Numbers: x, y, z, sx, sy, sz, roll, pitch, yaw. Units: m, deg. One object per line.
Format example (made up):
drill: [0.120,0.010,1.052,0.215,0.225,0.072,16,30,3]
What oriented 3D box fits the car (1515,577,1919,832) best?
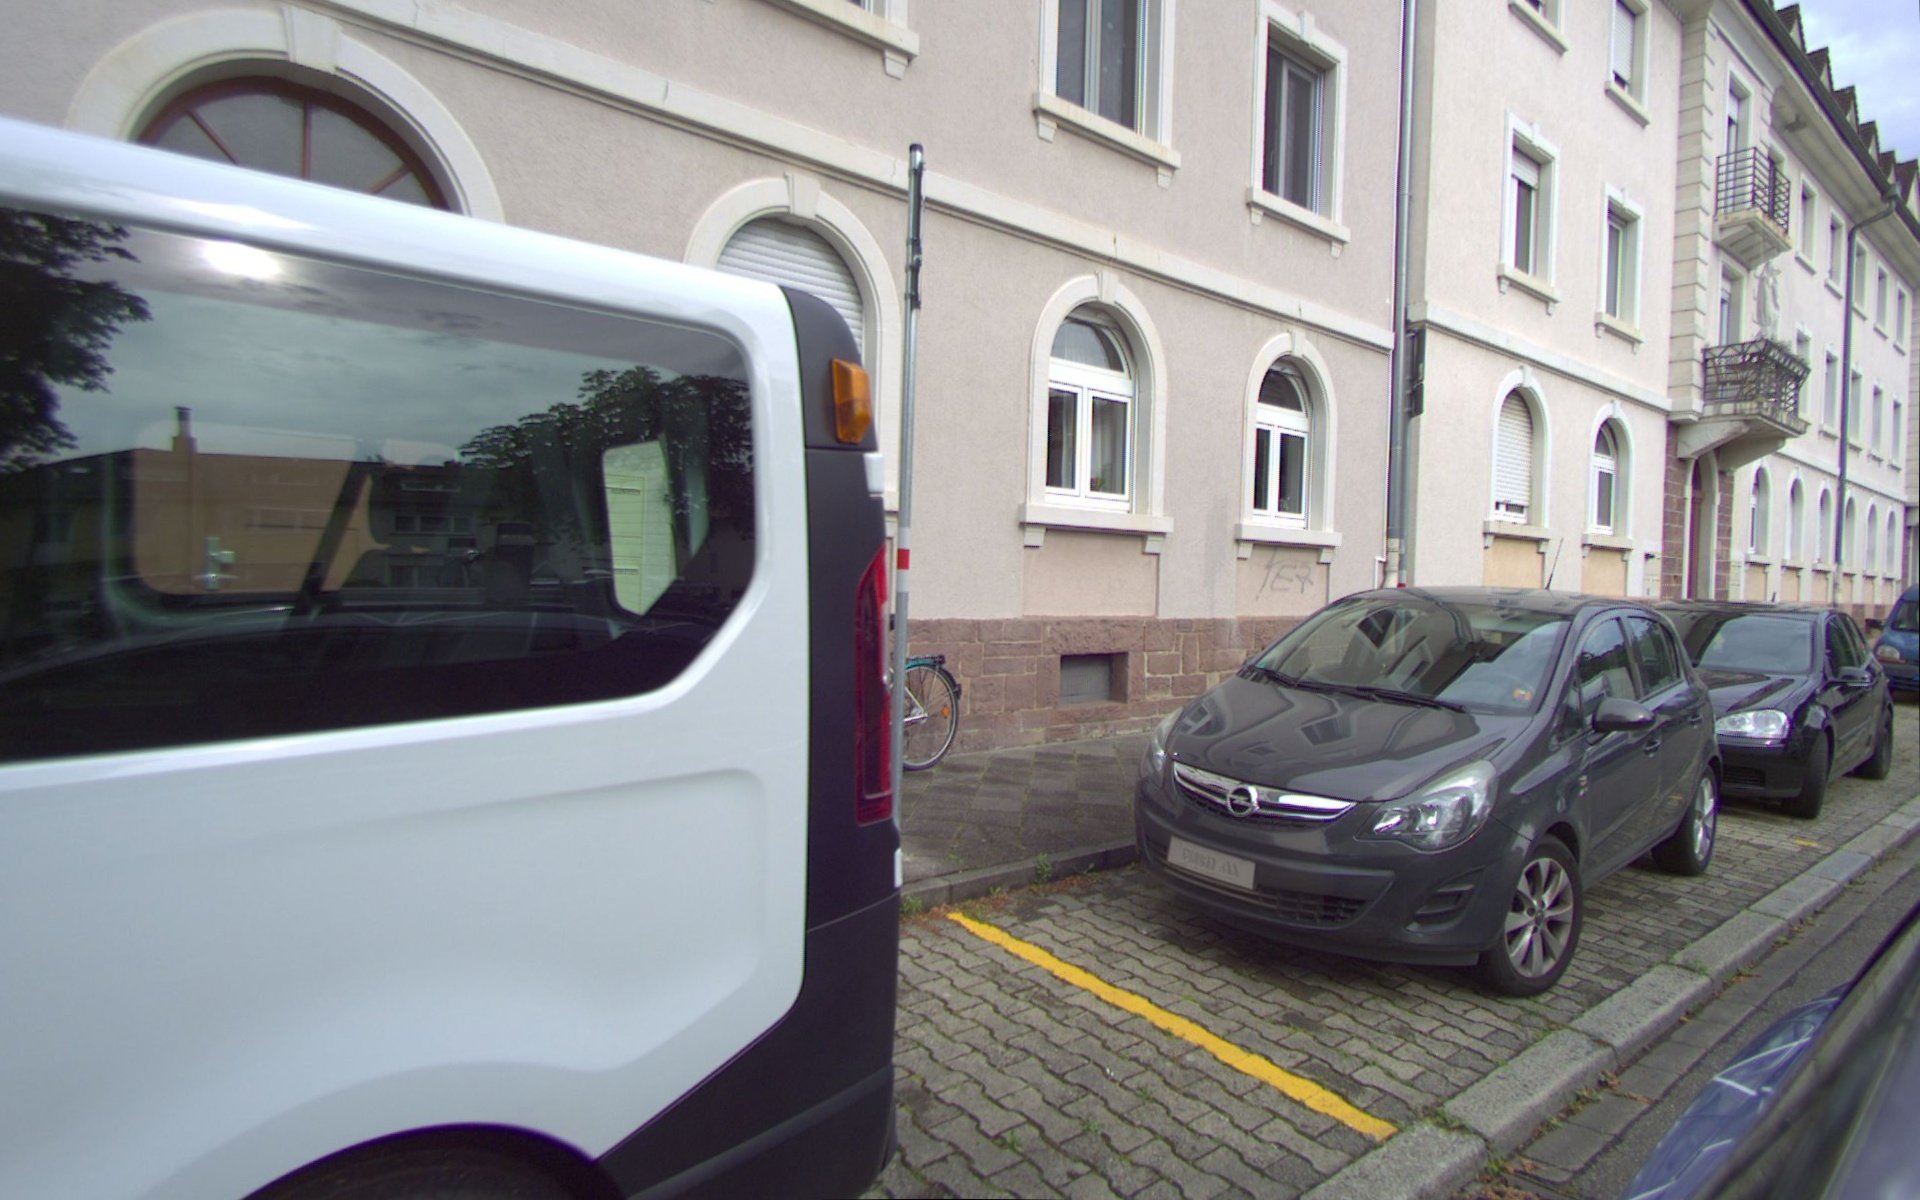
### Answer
car: [6.430,0.659,8.247,4.461,1.471,1.693,1,3,-39]

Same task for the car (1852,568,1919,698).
car: [15.362,0.524,15.384,4.110,1.807,1.944,1,3,-39]

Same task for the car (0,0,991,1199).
car: [-2.484,0.337,0.984,4.921,2.020,1.884,1,2,-39]

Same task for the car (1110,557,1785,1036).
car: [2.687,0.624,5.149,3.834,1.471,1.691,1,3,-42]

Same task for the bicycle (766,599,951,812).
bicycle: [-0.606,0.600,6.236,1.135,1.197,0.320,1,1,-41]
